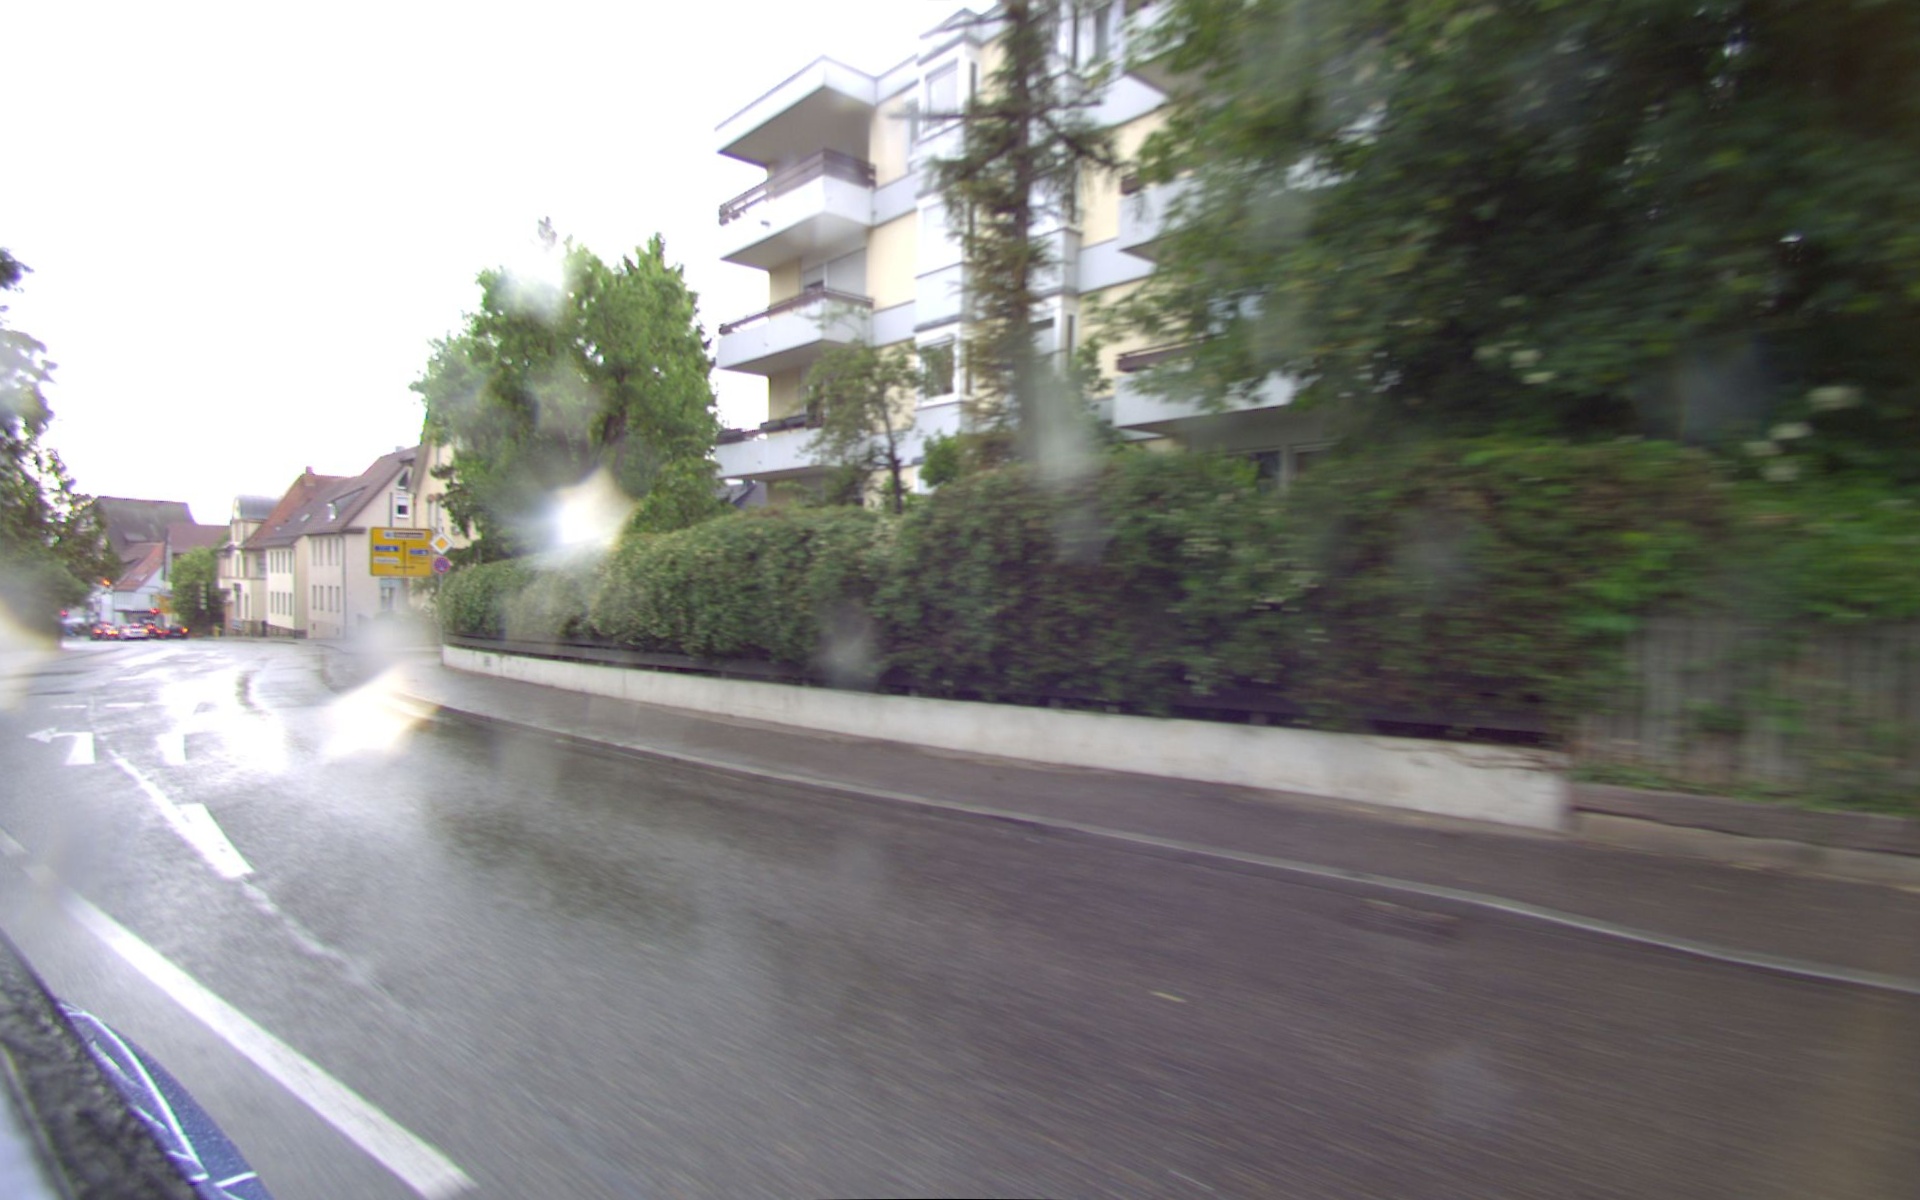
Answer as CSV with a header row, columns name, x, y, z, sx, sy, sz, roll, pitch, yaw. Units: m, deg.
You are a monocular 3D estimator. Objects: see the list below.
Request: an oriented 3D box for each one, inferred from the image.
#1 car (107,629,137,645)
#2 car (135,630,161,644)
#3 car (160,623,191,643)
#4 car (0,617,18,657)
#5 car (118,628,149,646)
name,x,y,z,sx,sy,sz,roll,pitch,yaw
car,-78.311,3.480,94.559,1.778,1.450,4.692,-1,-1,-45
car,-85.167,3.884,106.103,4.061,1.364,1.718,-2,-1,45
car,-70.147,2.948,90.482,1.725,1.583,3.816,-5,2,-43
car,-40.840,1.577,42.359,1.758,1.582,4.736,-3,1,-40
car,-72.542,3.231,88.791,1.778,1.450,4.693,-1,-1,-43
